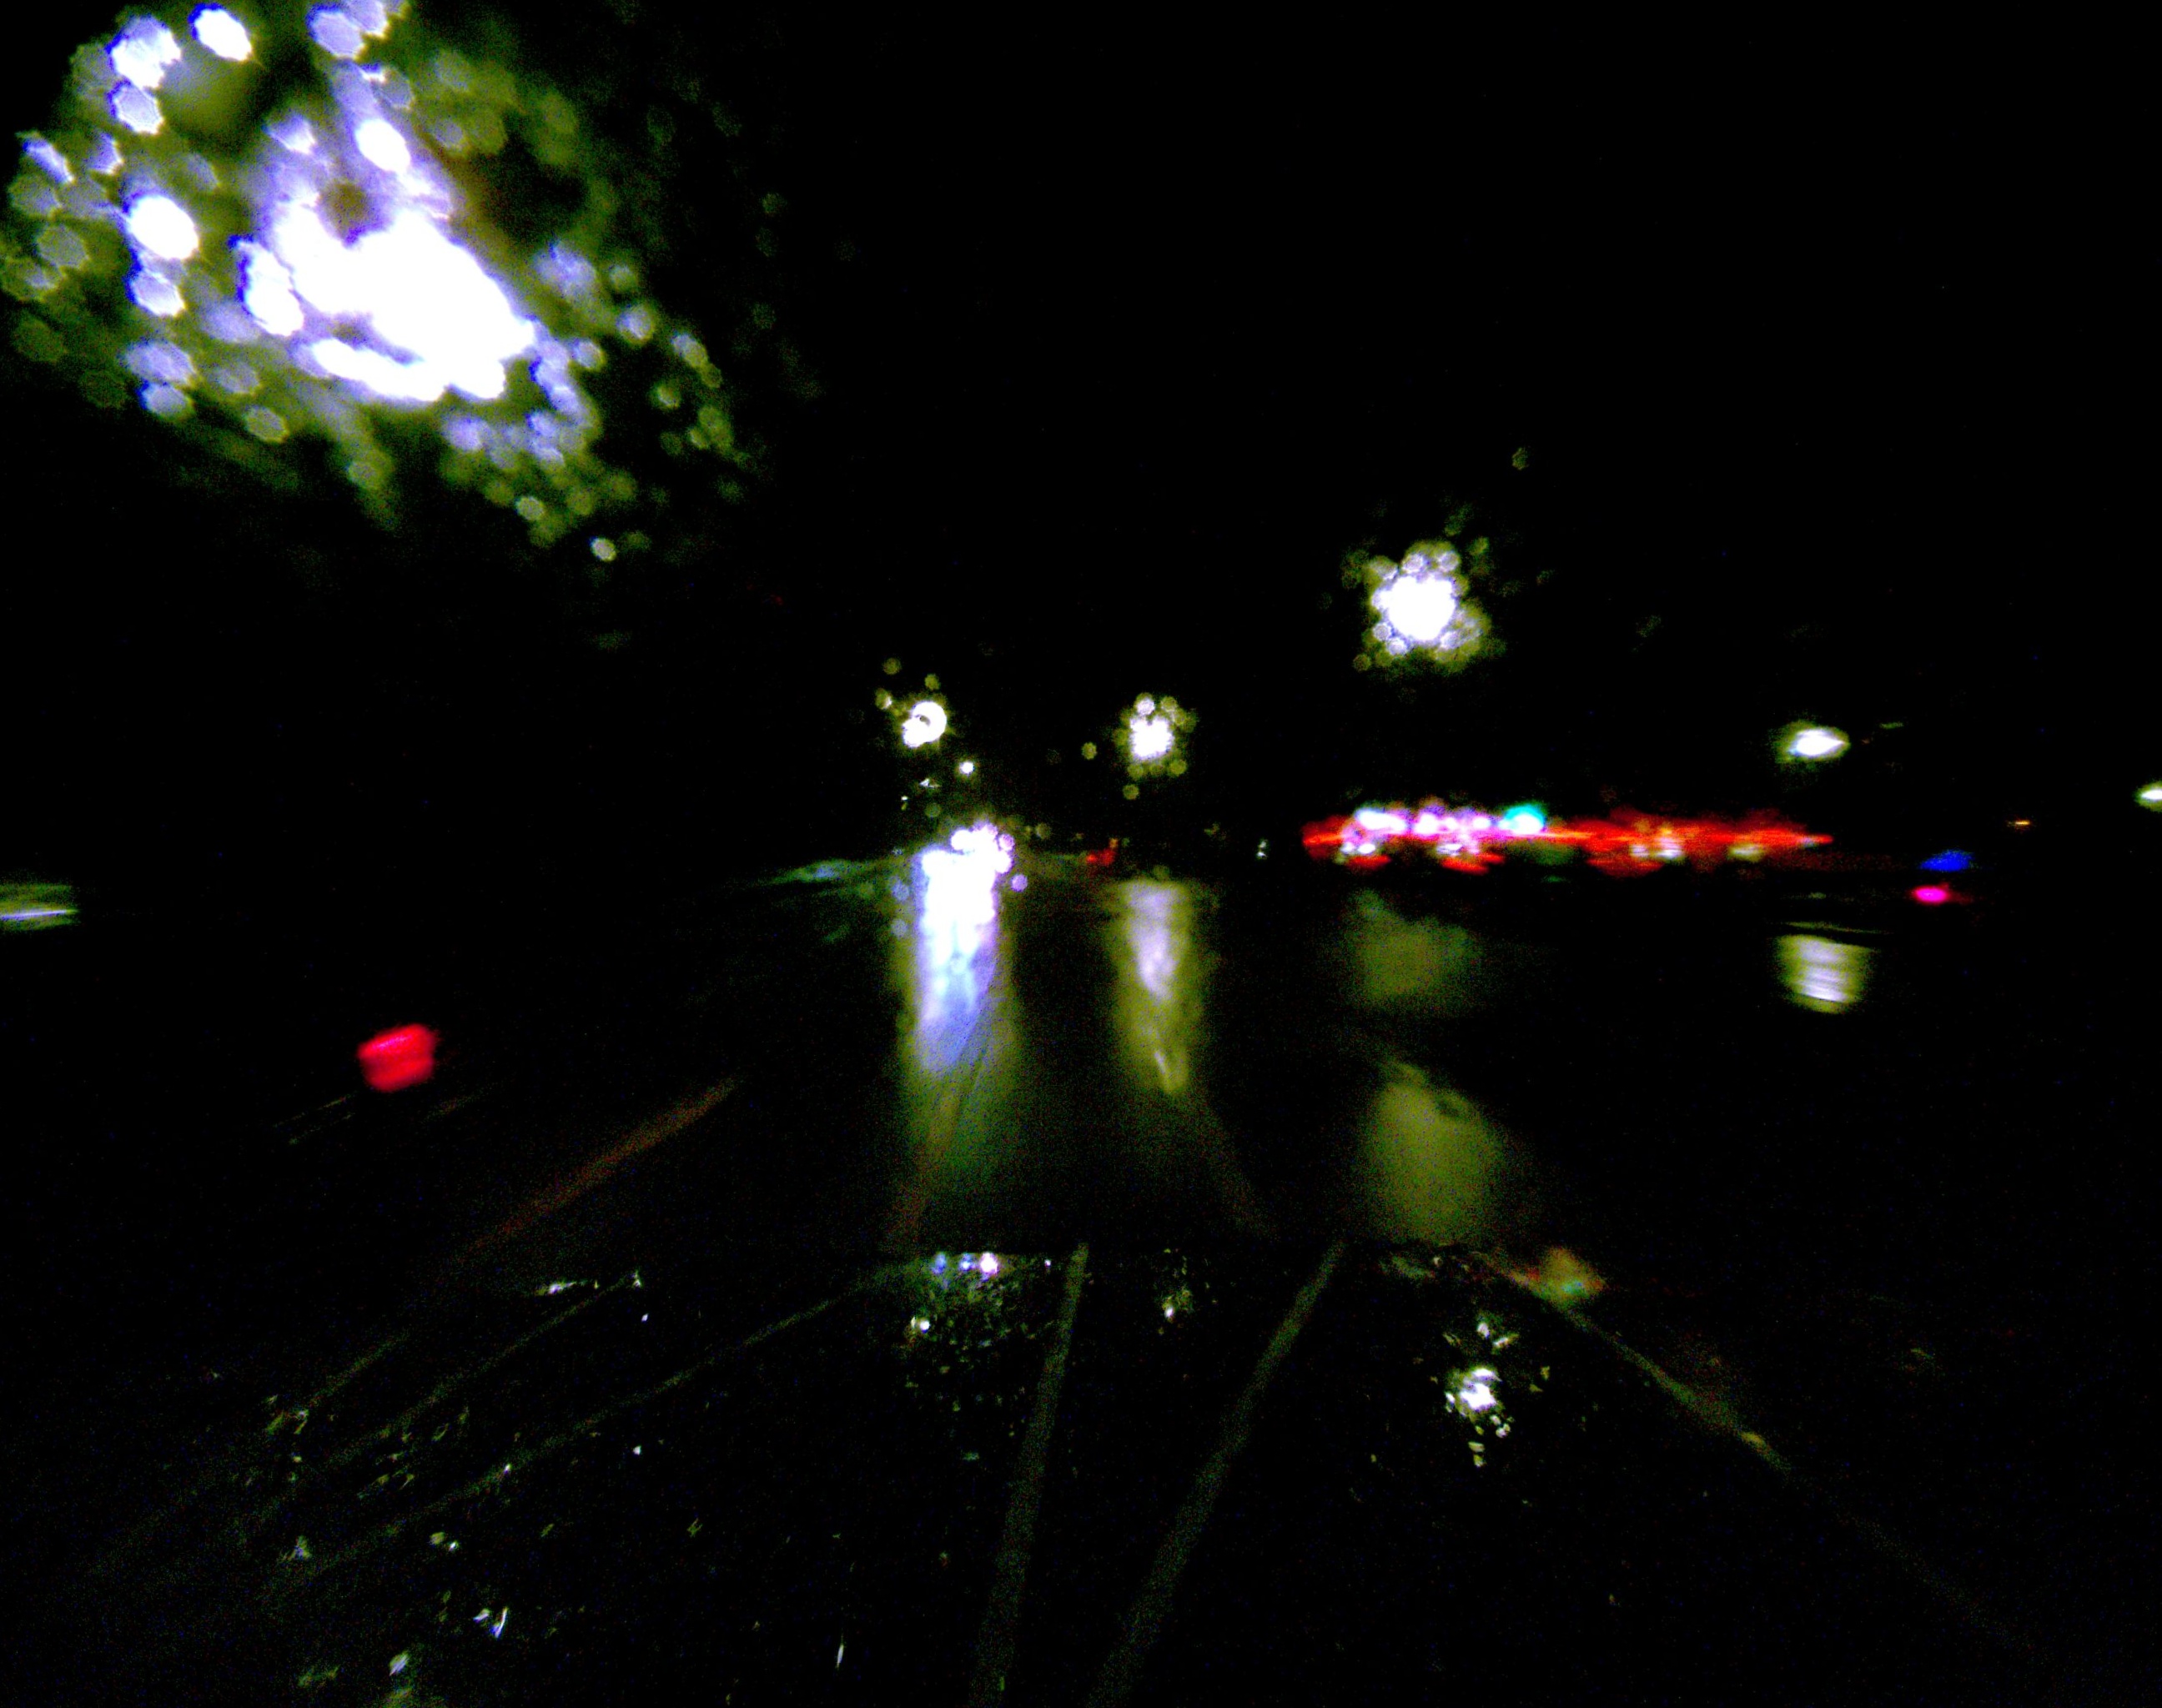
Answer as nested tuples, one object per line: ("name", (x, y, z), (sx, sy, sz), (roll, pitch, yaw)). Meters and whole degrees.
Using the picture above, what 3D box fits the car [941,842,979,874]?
("car", (-7.383, 0.227, 46.617), (1.937, 1.862, 3.998), (-1, 0, -4))

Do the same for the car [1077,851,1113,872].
("car", (1.034, 0.517, 57.571), (1.772, 1.449, 3.947), (-1, 1, -13))

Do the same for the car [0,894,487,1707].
("car", (-2.825, 0.933, 0.417), (1.999, 1.515, 3.998), (-2, 0, -5))

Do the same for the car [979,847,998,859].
("car", (-12.016, -0.192, 98.294), (1.833, 1.495, 4.181), (1, 0, -16))

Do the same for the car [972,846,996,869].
("car", (-8.814, 0.334, 69.240), (2.000, 1.922, 3.998), (3, -1, -7))
